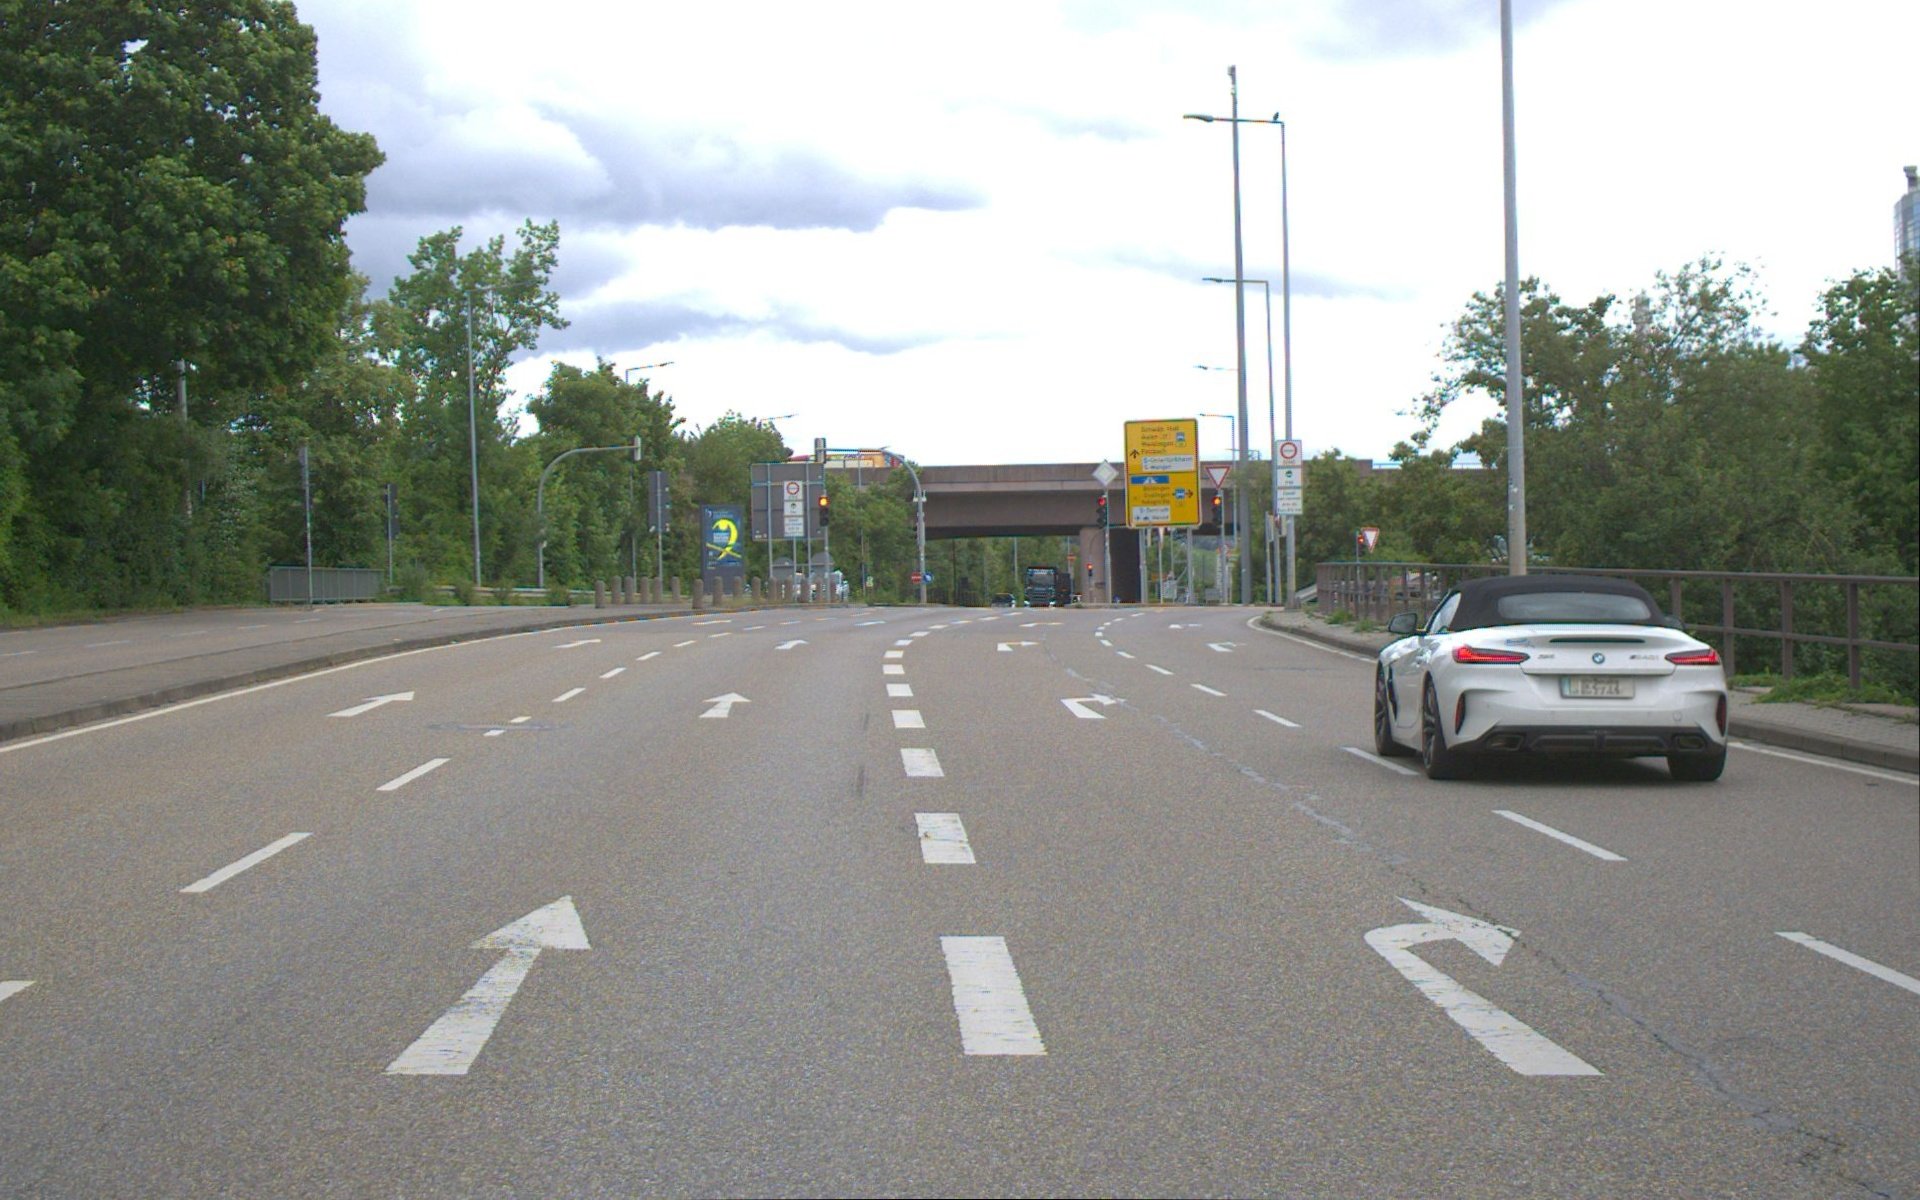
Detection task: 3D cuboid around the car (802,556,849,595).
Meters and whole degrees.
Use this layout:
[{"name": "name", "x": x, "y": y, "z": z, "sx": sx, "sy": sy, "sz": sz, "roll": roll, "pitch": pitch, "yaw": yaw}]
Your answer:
[{"name": "car", "x": -5.799, "y": -1.035, "z": 148.478, "sx": 1.771, "sy": 1.627, "sz": 3.824, "roll": 1, "pitch": 0, "yaw": 2}]

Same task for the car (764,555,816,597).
[{"name": "car", "x": -6.873, "y": -0.951, "z": 138.927, "sx": 1.771, "sy": 1.639, "sz": 3.824, "roll": 1, "pitch": 0, "yaw": 2}]

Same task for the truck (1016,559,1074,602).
[{"name": "truck", "x": 6.529, "y": -1.435, "z": 261.261, "sx": 2.925, "sy": 3.135, "sz": 10.107, "roll": 1, "pitch": 0, "yaw": 10}]

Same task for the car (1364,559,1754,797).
[{"name": "car", "x": 3.865, "y": 0.452, "z": 22.832, "sx": 1.875, "sy": 1.304, "sz": 3.873, "roll": 2, "pitch": 2, "yaw": 0}]
